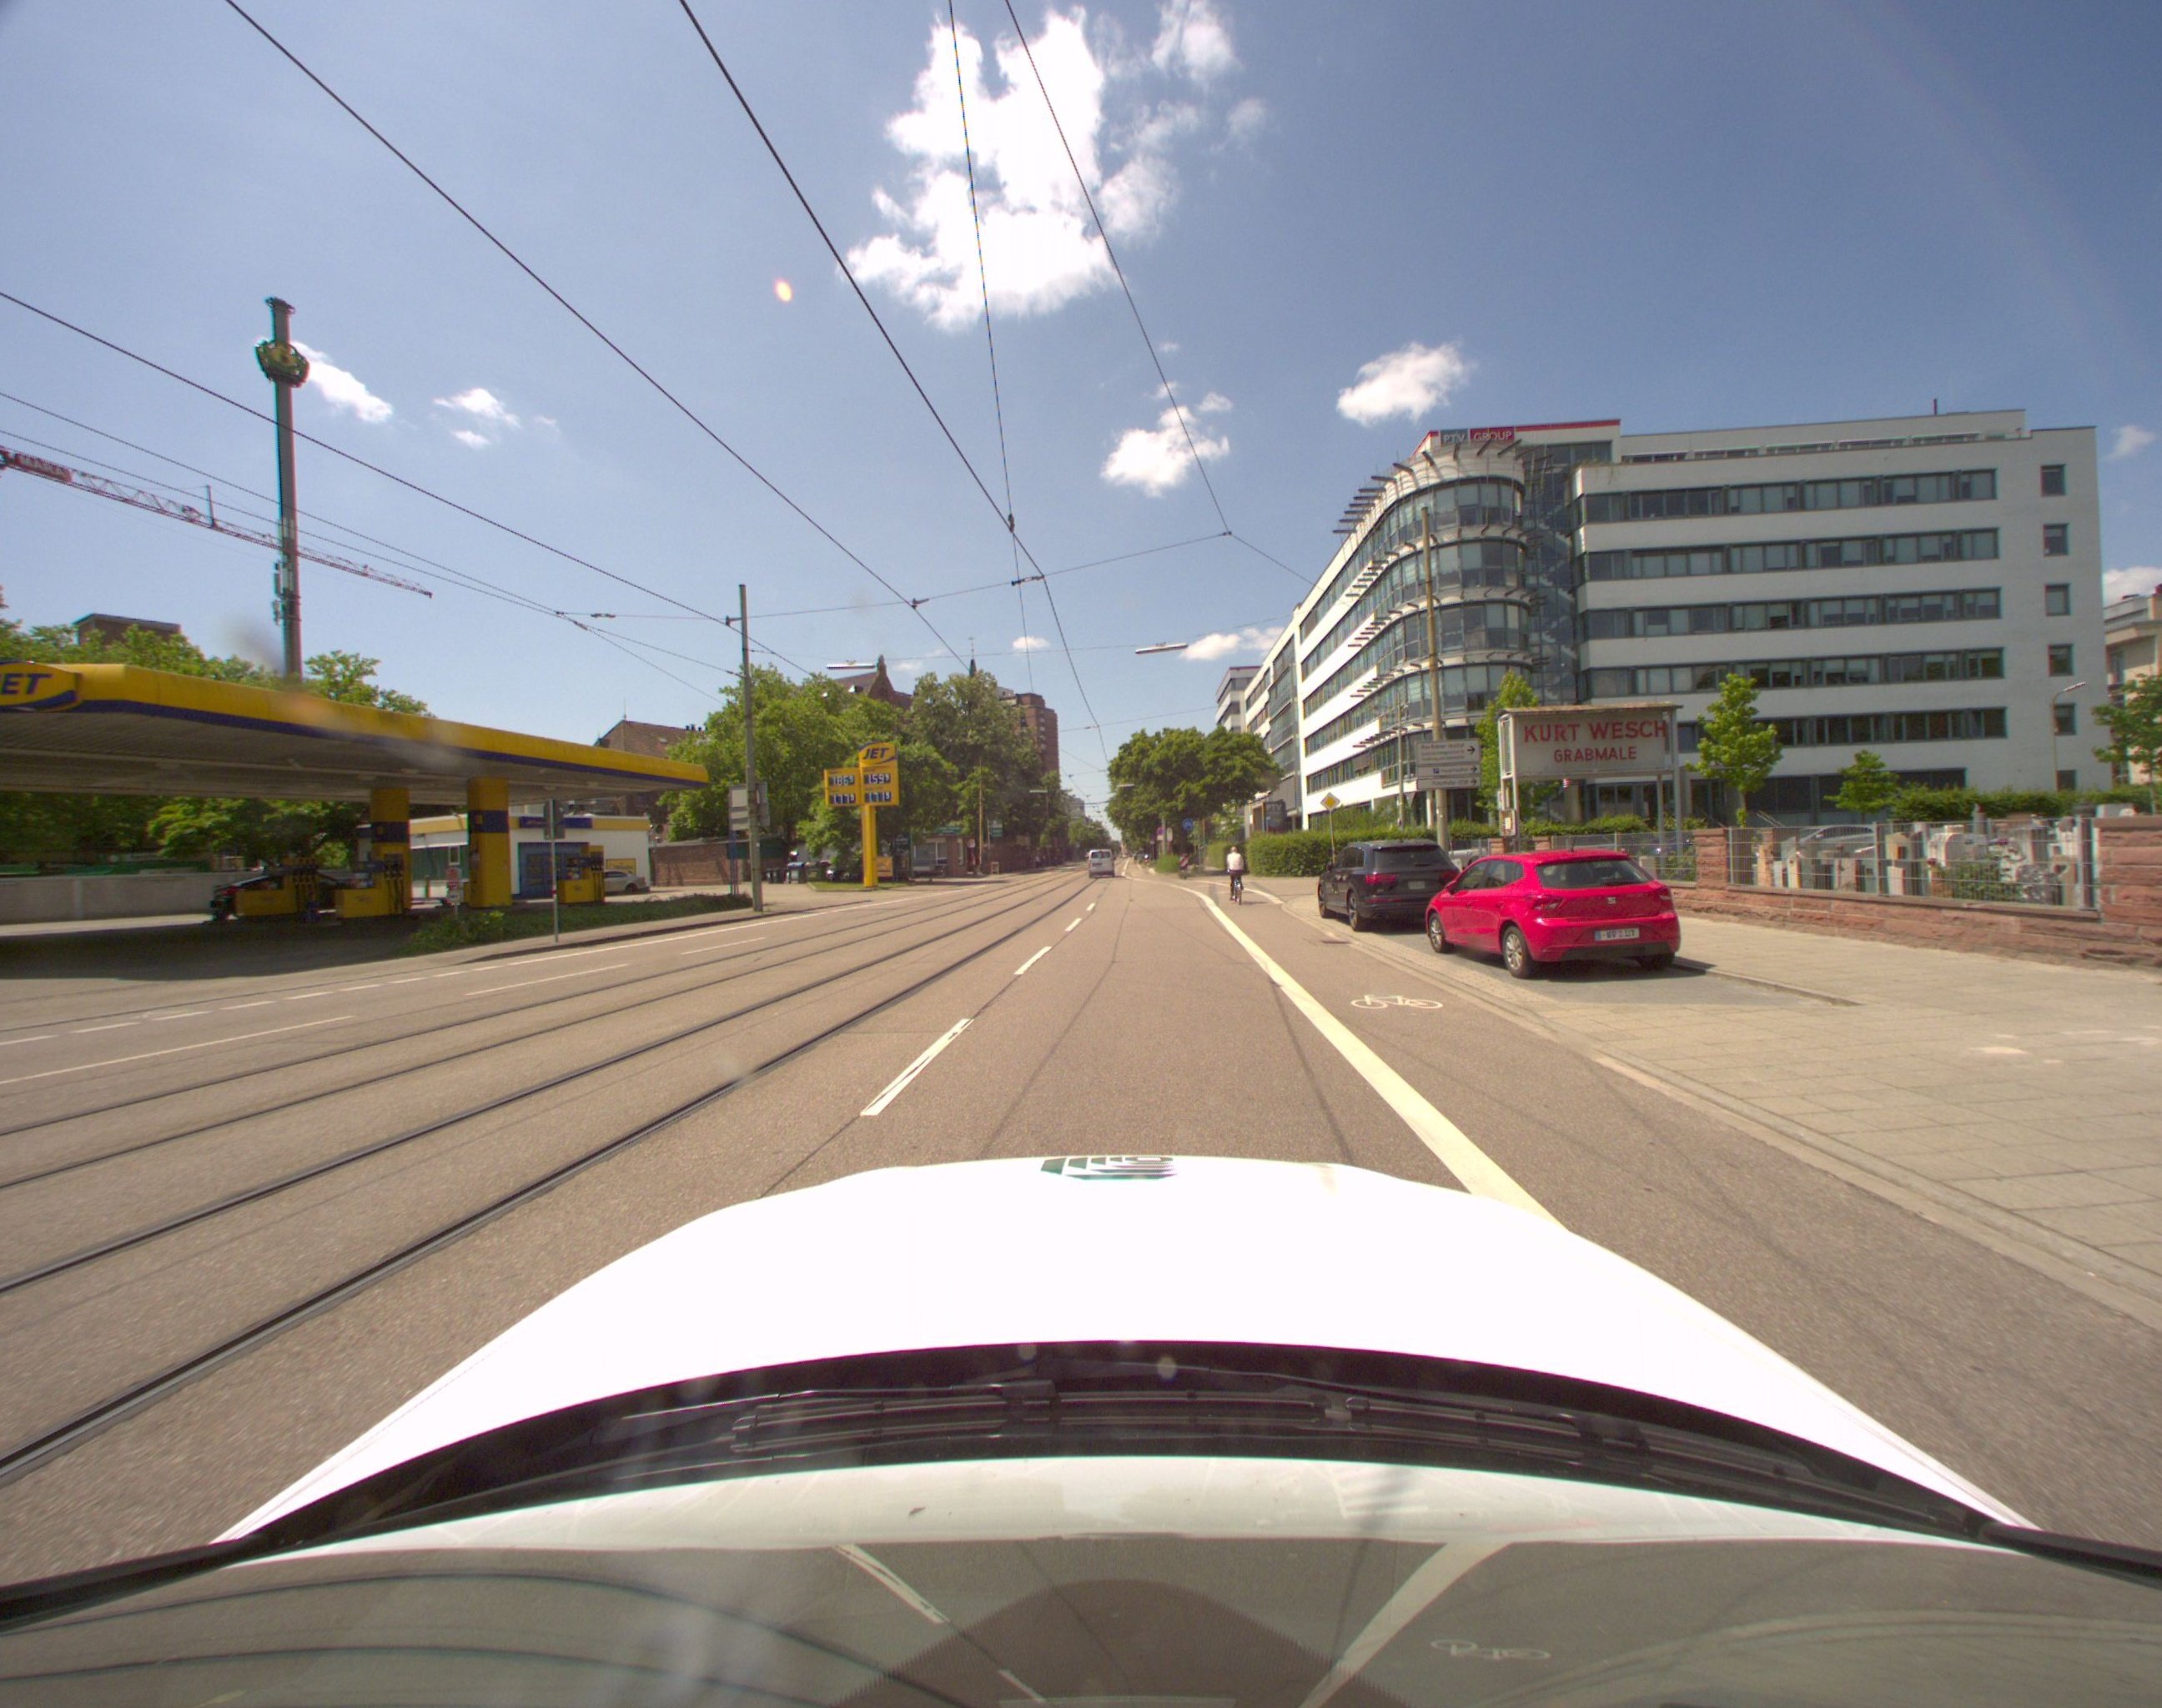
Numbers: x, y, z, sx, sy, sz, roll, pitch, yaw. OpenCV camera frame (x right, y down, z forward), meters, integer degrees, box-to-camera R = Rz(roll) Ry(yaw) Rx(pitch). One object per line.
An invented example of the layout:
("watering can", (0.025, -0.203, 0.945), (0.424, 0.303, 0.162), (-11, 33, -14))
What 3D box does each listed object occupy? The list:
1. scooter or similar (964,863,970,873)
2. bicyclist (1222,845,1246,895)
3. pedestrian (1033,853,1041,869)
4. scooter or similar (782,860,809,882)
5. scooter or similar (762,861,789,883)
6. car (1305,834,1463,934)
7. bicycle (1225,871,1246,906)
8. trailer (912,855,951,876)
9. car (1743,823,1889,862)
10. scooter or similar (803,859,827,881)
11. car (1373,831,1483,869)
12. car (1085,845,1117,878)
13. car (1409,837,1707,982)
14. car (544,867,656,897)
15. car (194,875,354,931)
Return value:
("scooter or similar", (-9.877, 1.189, 70.751), (0.430, 0.863, 0.500), (-2, -1, 1))
("bicyclist", (4.425, 0.459, 23.607), (0.588, 1.397, 0.843), (-2, 0, 6))
("pedestrian", (-5.588, 0.862, 104.182), (0.861, 2.014, 0.646), (-4, -1, 0))
("scooter or similar", (-19.291, 1.135, 55.075), (1.304, 1.467, 1.063), (-2, -1, 15))
("scooter or similar", (-21.101, 1.257, 56.262), (1.304, 1.466, 1.063), (-2, 0, 15))
("car", (6.082, 0.524, 17.034), (1.853, 1.687, 5.009), (-3, 0, 6))
("bicycle", (4.474, 0.981, 23.610), (0.463, 0.887, 2.052), (-2, 0, 7))
("trailer", (-11.803, 0.907, 64.334), (2.715, 1.526, 1.331), (-1, -1, 4))
("car", (29.544, -0.454, 32.836), (3.969, 1.367, 2.002), (-2, 0, 4))
("scooter or similar", (-17.755, 1.071, 54.406), (1.166, 1.467, 1.061), (-2, -1, 8))
("car", (14.119, -0.159, 33.306), (3.782, 1.275, 1.557), (-3, 0, 4))
("car", (1.386, 0.476, 54.820), (1.744, 2.013, 4.006), (-3, 0, 5))
("car", (5.958, 0.595, 10.823), (1.704, 1.452, 4.076), (-4, 0, 4))
("car", (-26.335, 1.513, 44.803), (1.818, 1.365, 5.039), (-2, 0, 27))
("car", (-29.295, 1.737, 29.696), (1.583, 1.703, 3.793), (-5, -1, 29))
